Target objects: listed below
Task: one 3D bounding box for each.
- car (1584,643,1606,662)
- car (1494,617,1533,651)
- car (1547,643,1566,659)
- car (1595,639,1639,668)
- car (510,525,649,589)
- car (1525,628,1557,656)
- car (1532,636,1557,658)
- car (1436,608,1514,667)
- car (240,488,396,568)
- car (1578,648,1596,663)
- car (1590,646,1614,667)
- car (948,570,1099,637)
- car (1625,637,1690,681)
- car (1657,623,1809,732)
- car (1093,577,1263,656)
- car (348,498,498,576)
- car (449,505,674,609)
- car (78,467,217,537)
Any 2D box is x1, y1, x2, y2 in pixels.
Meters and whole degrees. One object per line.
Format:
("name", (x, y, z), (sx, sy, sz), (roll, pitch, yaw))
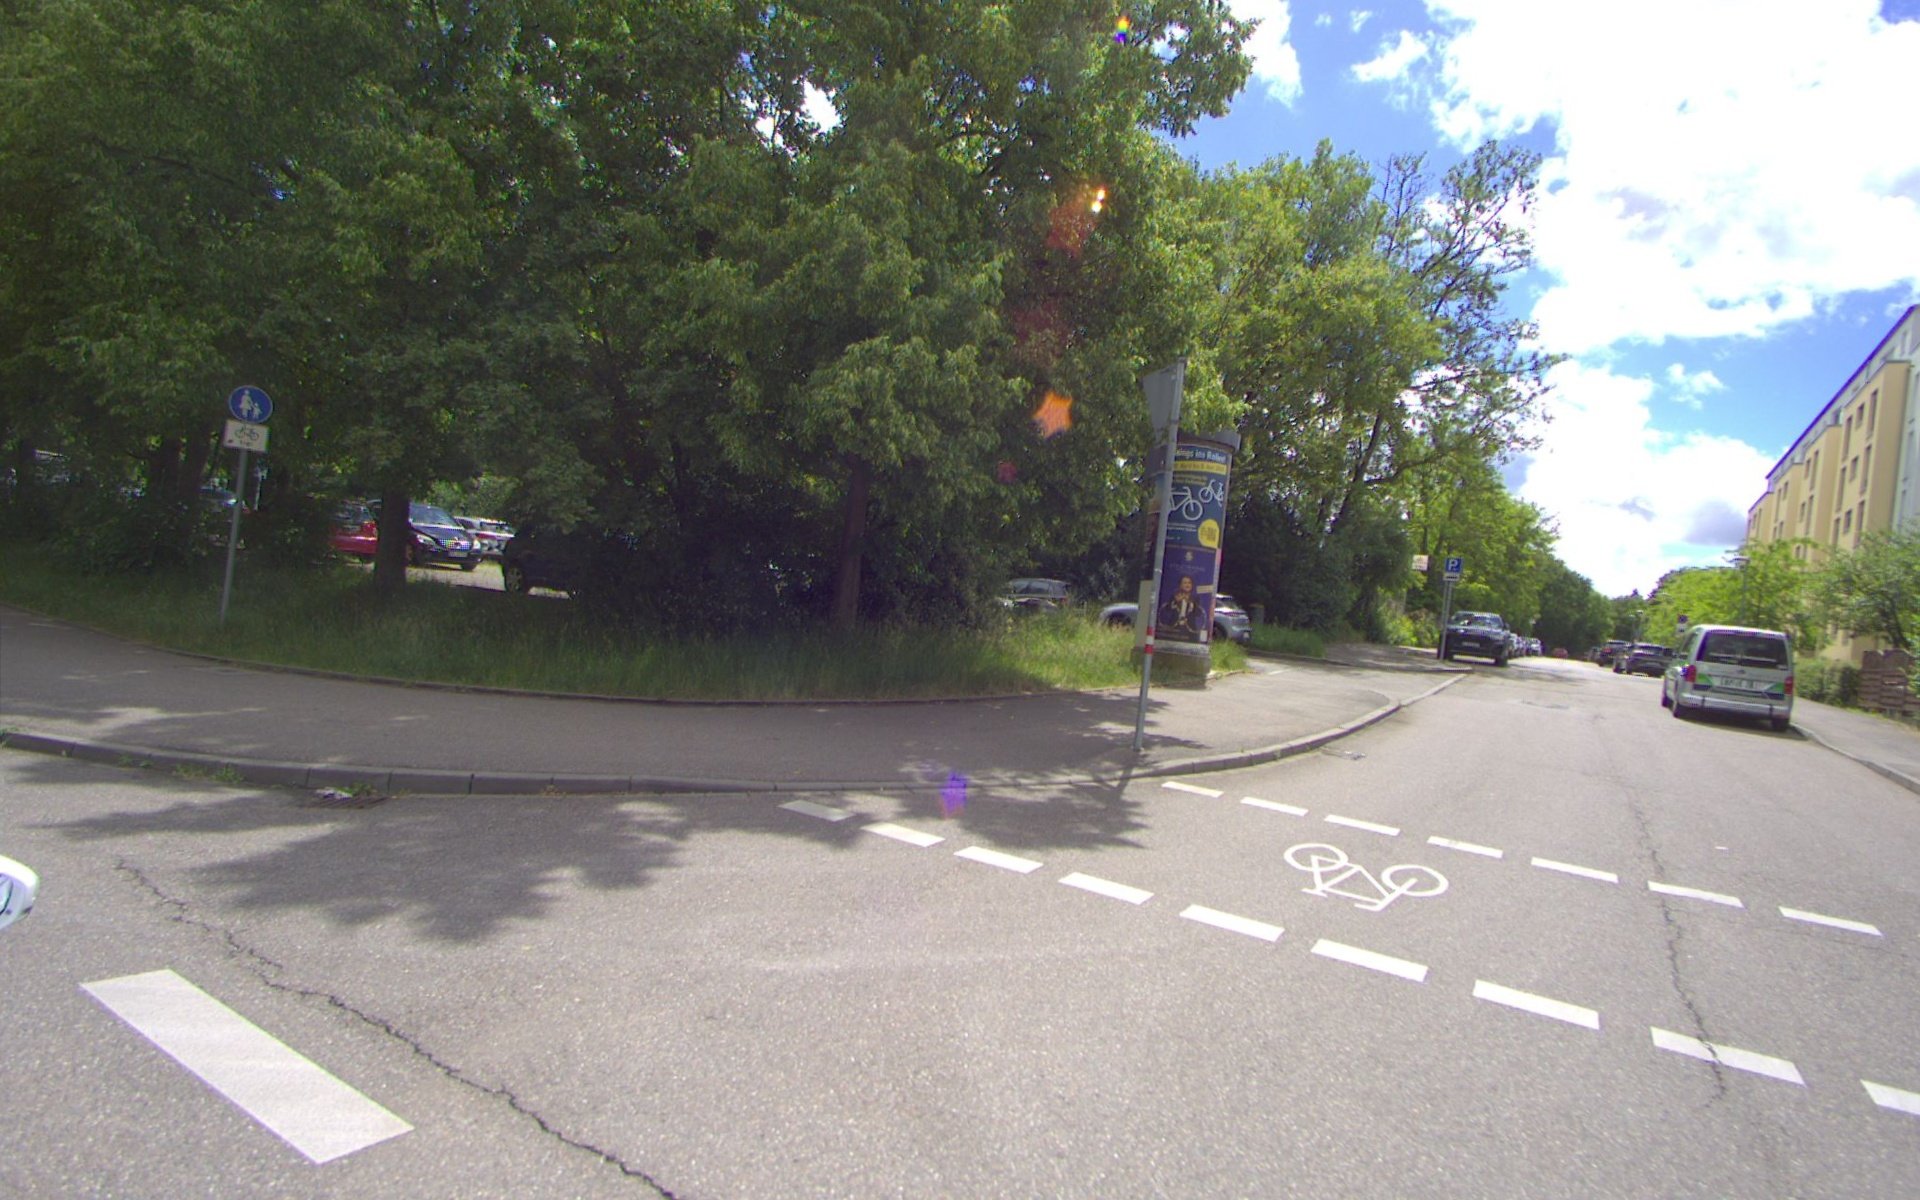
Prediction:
("car", (75.596, 6.258, 119.881), (1.967, 2.040, 3.988), (7, 2, 32))
("car", (37.646, 2.341, 68.395), (1.967, 2.040, 3.988), (7, 2, 32))
("car", (84.740, 7.218, 142.902), (1.967, 2.040, 3.988), (7, 2, 32))
("car", (42.414, 3.416, 65.060), (1.966, 1.605, 3.990), (7, 1, 29))
("car", (-11.423, -1.293, 30.172), (3.793, 1.460, 1.756), (7, 1, 29))
("car", (48.359, 3.491, 83.732), (1.967, 2.040, 3.988), (7, 2, 32))
("car", (60.675, 4.837, 104.355), (1.967, 2.040, 3.988), (7, 2, 32))
("car", (16.905, 1.251, 32.913), (1.966, 1.605, 4.318), (7, 1, 29))
("car", (-15.436, -1.733, 24.145), (3.601, 1.519, 1.662), (7, 1, 31))
("car", (94.060, 8.324, 150.967), (1.967, 2.040, 3.988), (7, 2, 32))
("car", (69.553, 6.093, 109.063), (1.967, 2.040, 3.988), (7, 2, 32))
("car", (1.809, 0.097, 29.111), (3.915, 1.488, 1.638), (7, 1, 30))
("car", (32.004, 2.670, 46.250), (1.918, 1.739, 3.990), (7, 2, 30))
("car", (15.012, 1.436, 19.758), (1.662, 1.739, 3.990), (7, 2, 30))
("car", (5.724, 0.423, 26.530), (3.915, 1.605, 1.638), (7, 1, 30))
("car", (-13.964, -1.647, 26.121), (3.601, 1.602, 1.754), (7, 1, 31))
("car", (-7.435, -0.804, 18.740), (3.749, 1.529, 1.827), (5, -2, 29))
("car", (-22.303, -2.696, 27.580), (4.069, 1.534, 1.627), (7, 2, 31))
